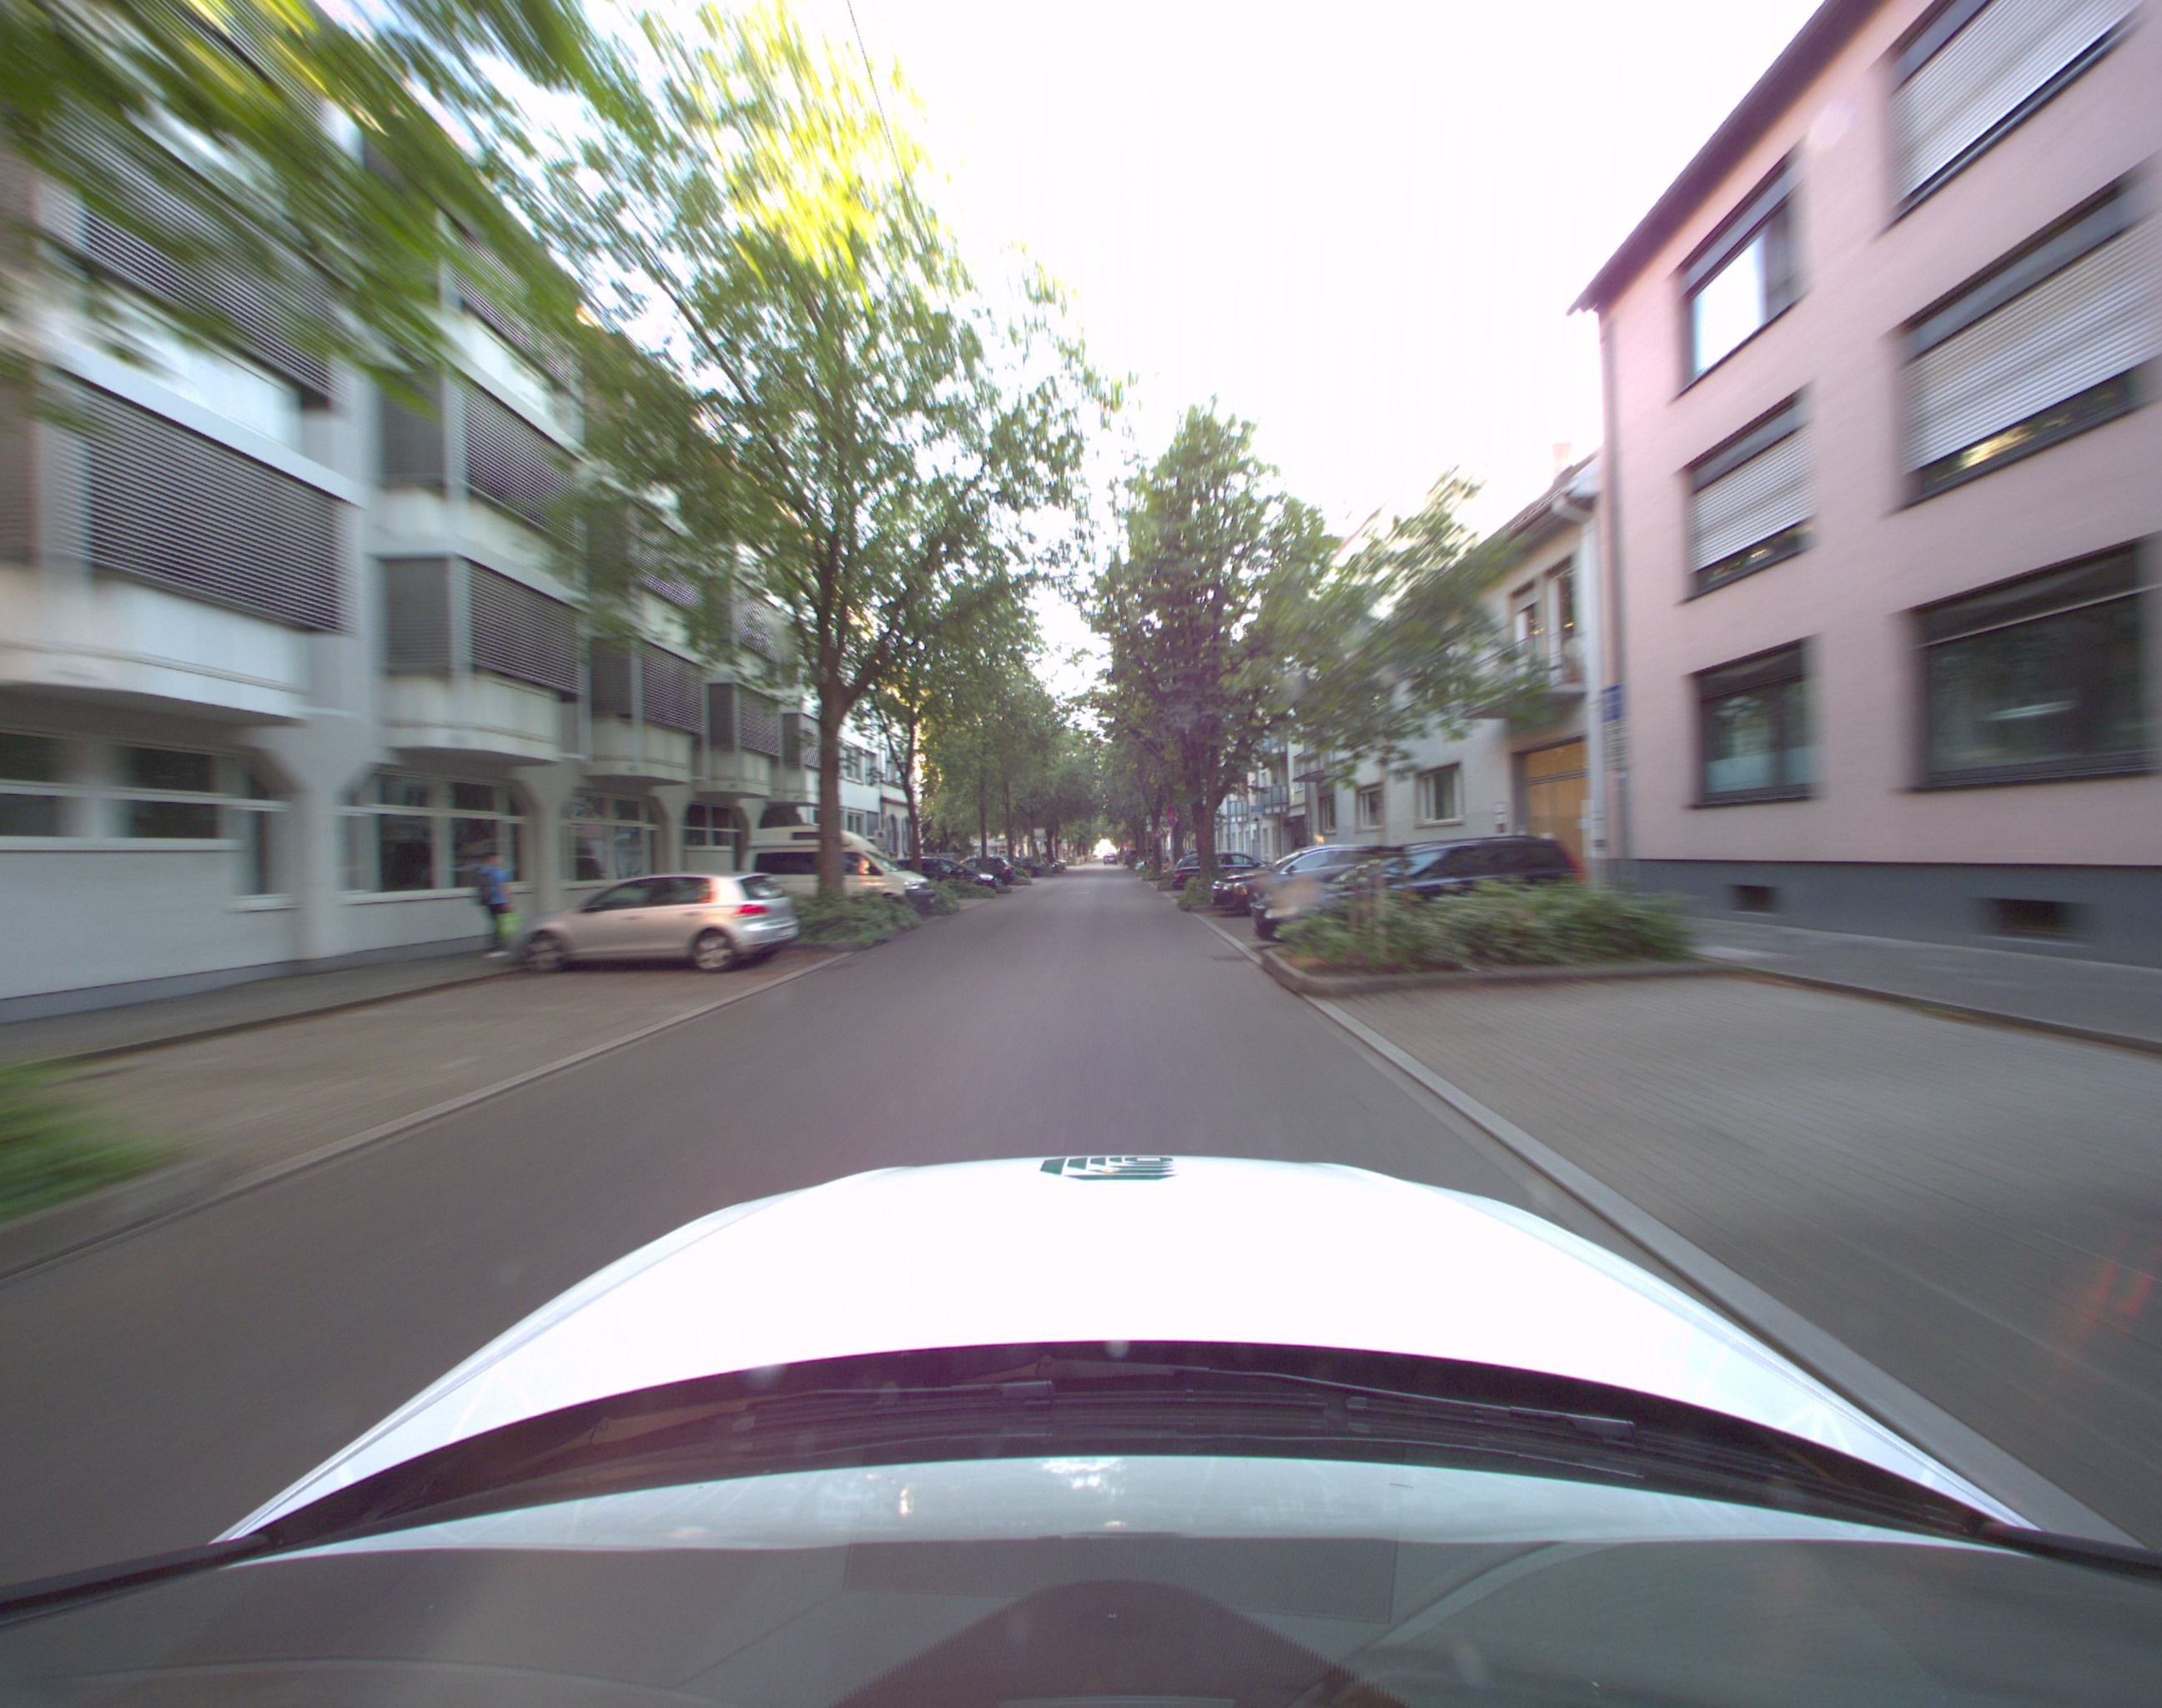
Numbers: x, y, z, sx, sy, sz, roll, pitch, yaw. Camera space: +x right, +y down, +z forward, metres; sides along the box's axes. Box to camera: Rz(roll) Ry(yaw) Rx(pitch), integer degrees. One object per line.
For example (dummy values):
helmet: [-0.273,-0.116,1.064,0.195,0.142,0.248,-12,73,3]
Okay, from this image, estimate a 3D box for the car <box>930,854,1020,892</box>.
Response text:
car: [-5.313,0.927,41.267,4.187,1.635,1.964,-3,0,1]

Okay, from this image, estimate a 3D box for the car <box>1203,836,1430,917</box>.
car: [5.310,0.488,18.841,4.665,1.521,1.964,-3,0,1]

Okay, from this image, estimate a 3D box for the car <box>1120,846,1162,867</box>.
car: [6.389,0.229,86.715,4.252,1.962,1.964,-3,0,1]

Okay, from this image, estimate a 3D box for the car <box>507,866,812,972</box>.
car: [-6.470,0.975,12.790,3.854,1.486,1.758,-1,0,3]

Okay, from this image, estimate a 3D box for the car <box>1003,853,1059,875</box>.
car: [-4.487,0.882,73.193,4.745,1.630,1.964,-3,0,1]

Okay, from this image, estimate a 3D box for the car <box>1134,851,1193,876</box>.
car: [6.121,0.705,60.892,4.252,1.565,1.964,-3,0,1]

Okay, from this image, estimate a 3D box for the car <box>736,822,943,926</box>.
car: [-6.131,0.489,21.087,4.665,2.478,2.001,-1,0,1]

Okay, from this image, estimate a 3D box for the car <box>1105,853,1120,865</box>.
car: [4.380,0.665,114.132,1.949,1.565,4.284,-3,0,2]

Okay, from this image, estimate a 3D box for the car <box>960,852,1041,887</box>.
car: [-4.791,0.892,48.954,4.578,1.807,1.964,-3,0,1]

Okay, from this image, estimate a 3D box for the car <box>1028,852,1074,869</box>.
car: [-3.258,0.713,88.853,4.745,1.630,1.964,-3,0,1]

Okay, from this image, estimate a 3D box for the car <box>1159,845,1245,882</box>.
car: [6.013,0.473,40.863,4.036,1.597,1.825,-3,0,1]

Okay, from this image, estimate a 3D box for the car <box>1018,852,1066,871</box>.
car: [-3.970,0.784,83.822,4.745,1.630,1.964,-3,0,1]

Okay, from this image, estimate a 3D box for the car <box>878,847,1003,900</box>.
car: [-5.699,0.771,33.548,4.665,1.854,1.964,-3,0,1]

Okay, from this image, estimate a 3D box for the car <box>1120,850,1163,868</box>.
car: [6.231,0.509,84.085,4.252,1.565,1.964,-3,0,1]

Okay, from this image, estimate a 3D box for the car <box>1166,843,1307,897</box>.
car: [5.208,0.524,27.760,4.487,1.521,1.998,-3,0,5]

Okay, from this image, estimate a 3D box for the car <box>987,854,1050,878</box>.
car: [-4.943,0.920,64.742,4.745,1.630,1.964,-3,0,1]

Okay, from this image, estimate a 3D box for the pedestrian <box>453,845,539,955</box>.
pedestrian: [-9.553,0.732,13.330,0.700,1.728,0.905,-1,0,2]

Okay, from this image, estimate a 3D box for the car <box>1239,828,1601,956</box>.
car: [4.899,0.522,12.342,4.697,1.710,1.952,-1,1,3]

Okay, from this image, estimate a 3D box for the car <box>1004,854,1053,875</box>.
car: [-4.545,0.900,70.716,3.972,1.510,1.801,-3,0,1]

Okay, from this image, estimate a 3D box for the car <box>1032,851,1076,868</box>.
car: [-2.981,0.639,91.727,4.745,1.630,1.964,-3,0,1]

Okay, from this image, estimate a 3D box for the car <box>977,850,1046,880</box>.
car: [-5.125,0.796,60.423,4.745,1.984,1.964,-3,0,1]
